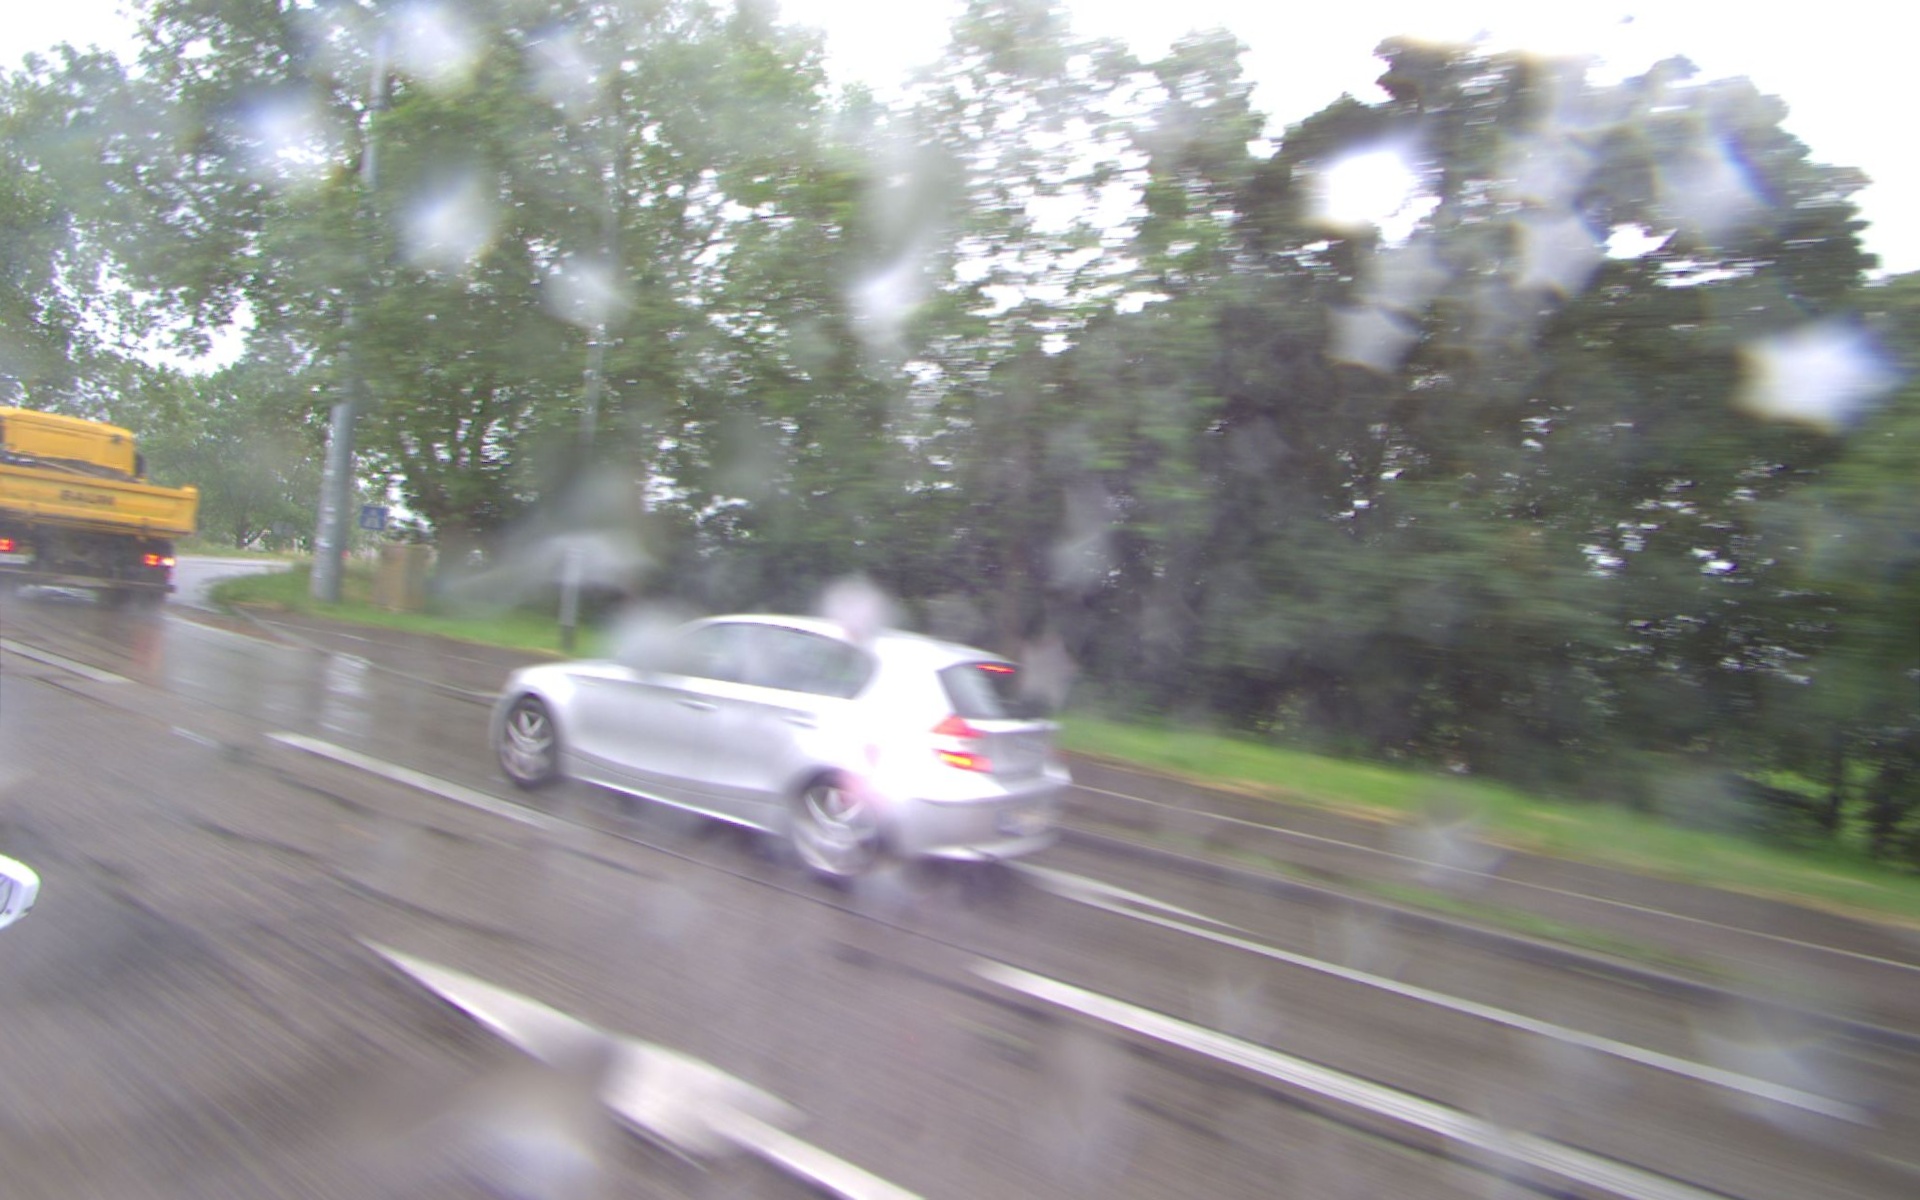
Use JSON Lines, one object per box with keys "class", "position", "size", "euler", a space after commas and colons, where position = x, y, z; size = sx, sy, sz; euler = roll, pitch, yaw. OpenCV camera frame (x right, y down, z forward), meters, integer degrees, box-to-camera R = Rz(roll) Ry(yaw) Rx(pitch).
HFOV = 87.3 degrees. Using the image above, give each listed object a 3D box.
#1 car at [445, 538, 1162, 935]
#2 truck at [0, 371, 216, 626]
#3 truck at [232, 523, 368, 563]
{"class": "car", "position": [-1.194, 0.656, 6.634], "size": [4.528, 1.520, 1.630], "euler": [8, -1, 31]}
{"class": "truck", "position": [-15.246, -1.702, 16.951], "size": [6.832, 3.295, 2.555], "euler": [7, -1, 40]}
{"class": "truck", "position": [-98.084, -8.409, 150.096], "size": [16.579, 4.212, 3.266], "euler": [5, 1, -30]}
